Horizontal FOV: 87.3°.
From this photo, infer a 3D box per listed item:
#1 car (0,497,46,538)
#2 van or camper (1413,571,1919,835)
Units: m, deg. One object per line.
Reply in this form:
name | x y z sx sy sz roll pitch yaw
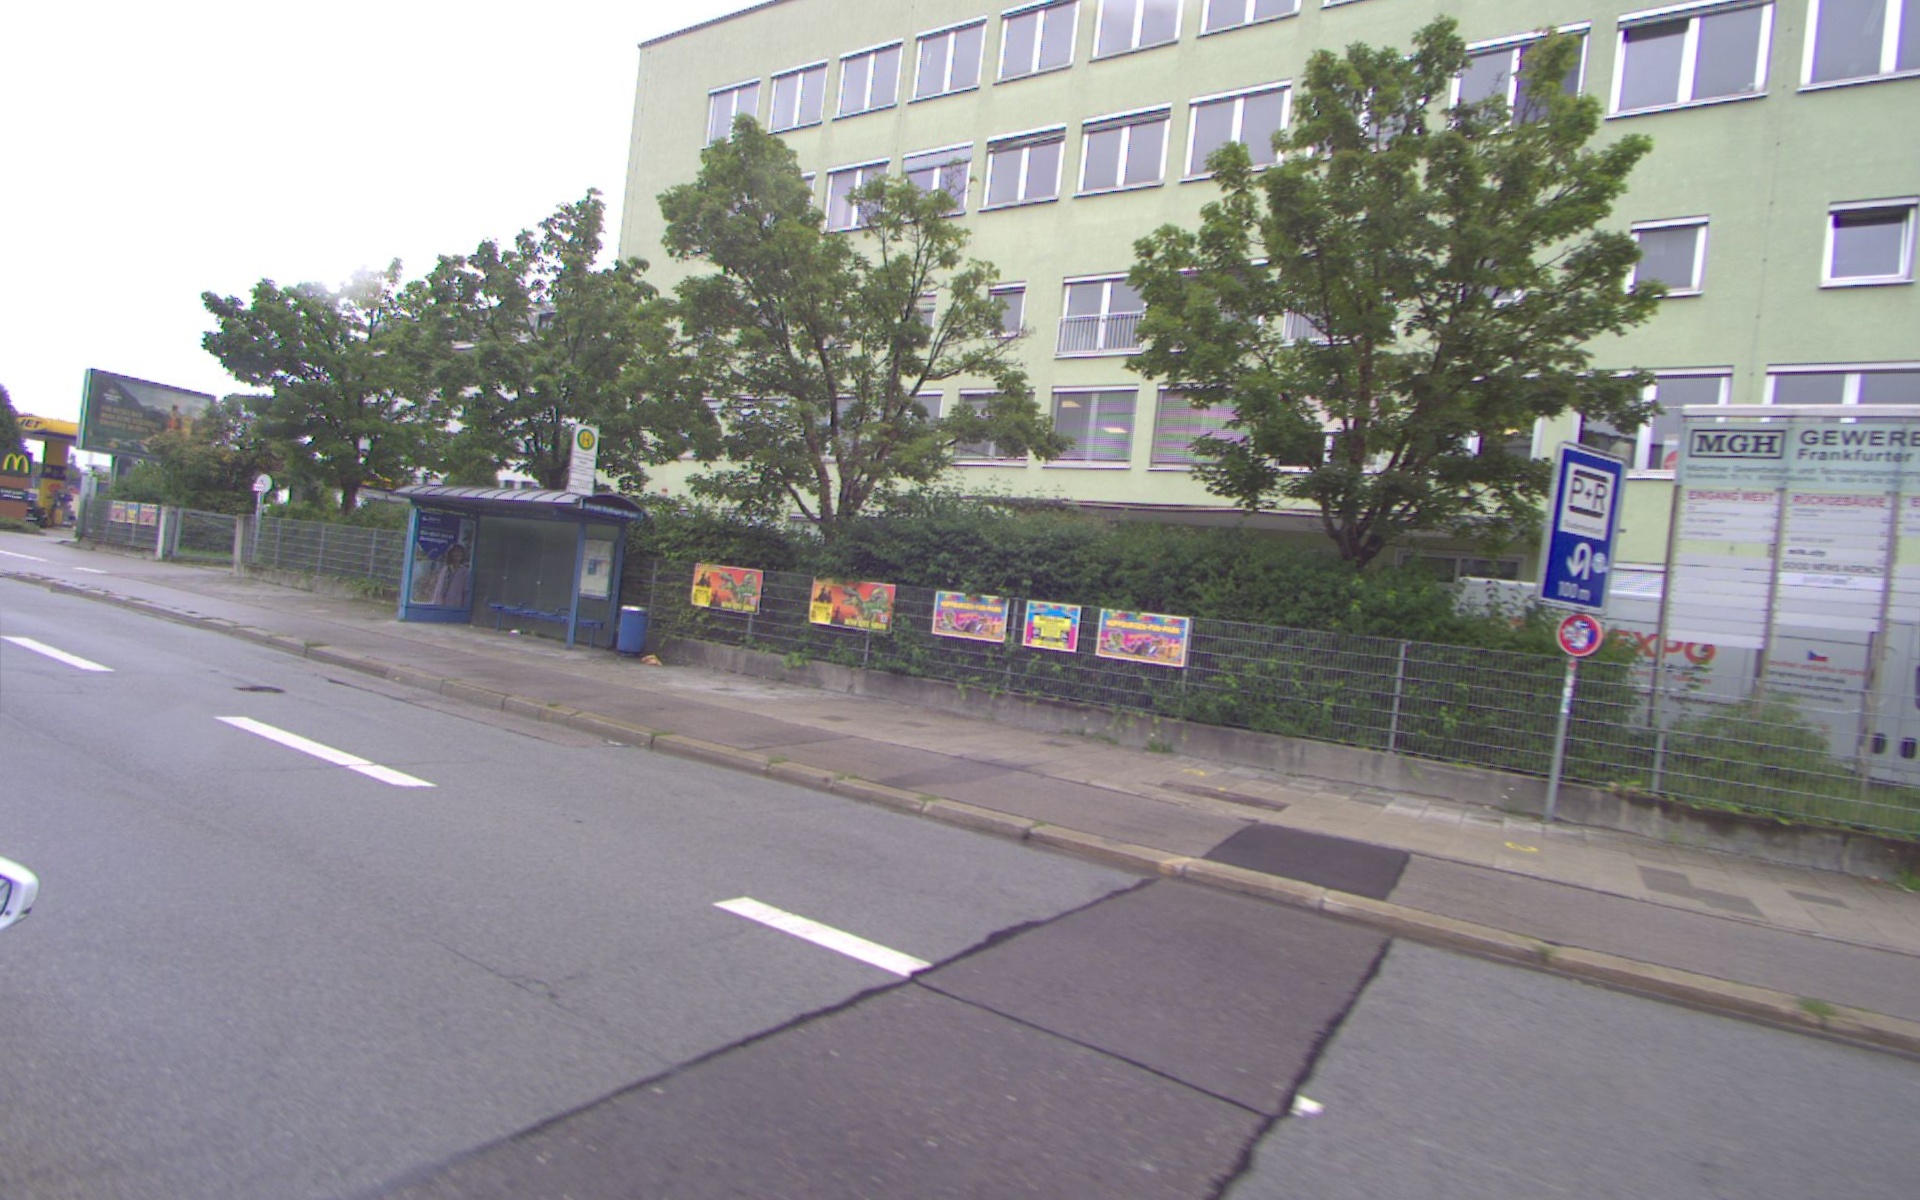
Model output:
car | -49.122 -4.346 52.093 3.937 1.816 1.755 6 0 35
van or camper | 9.970 1.256 12.687 7.279 2.527 2.124 6 -1 39
